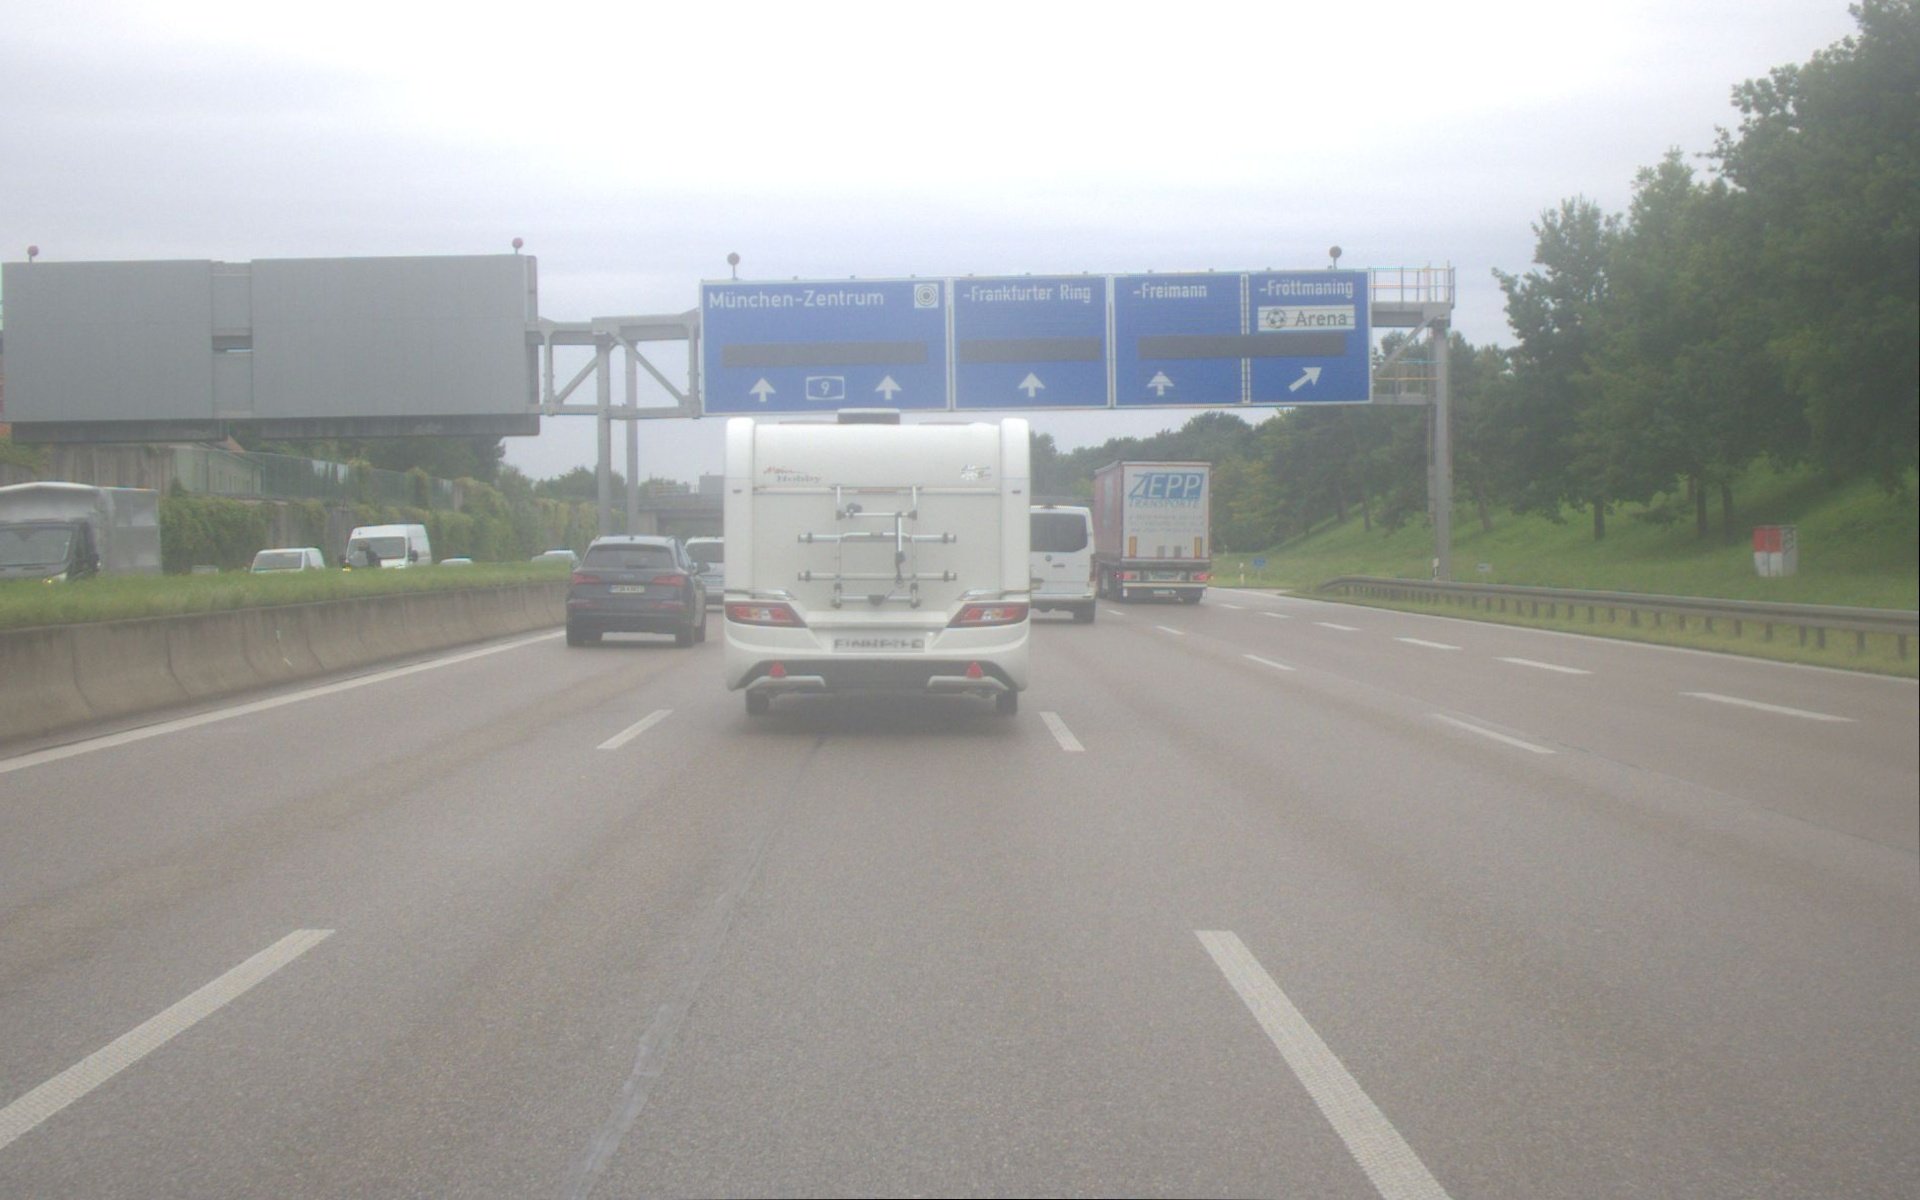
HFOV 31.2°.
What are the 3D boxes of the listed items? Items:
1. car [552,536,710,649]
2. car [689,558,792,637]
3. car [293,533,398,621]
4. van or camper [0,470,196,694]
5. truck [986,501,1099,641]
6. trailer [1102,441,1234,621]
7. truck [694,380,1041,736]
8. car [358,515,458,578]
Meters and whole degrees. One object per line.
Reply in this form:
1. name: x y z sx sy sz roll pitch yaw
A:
1. car: -4.921 -0.131 52.045 1.993 1.594 5.124 1 0 -1
2. car: -5.022 -0.072 79.070 2.127 1.700 4.113 2 0 -1
3. car: -14.487 -0.551 81.238 1.768 2.007 4.000 1 0 0
4. van or camper: -16.783 -0.367 65.316 2.708 3.935 8.402 1 0 -1
5. truck: 1.666 -0.607 71.258 2.053 2.760 5.549 1 0 -1
6. trailer: 5.981 -1.956 100.726 3.100 4.905 11.790 1 0 0
7. truck: -0.778 -0.349 29.398 2.661 2.733 5.078 1 0 -1
8. car: -17.417 -1.664 108.820 2.127 1.905 6.534 1 0 0
